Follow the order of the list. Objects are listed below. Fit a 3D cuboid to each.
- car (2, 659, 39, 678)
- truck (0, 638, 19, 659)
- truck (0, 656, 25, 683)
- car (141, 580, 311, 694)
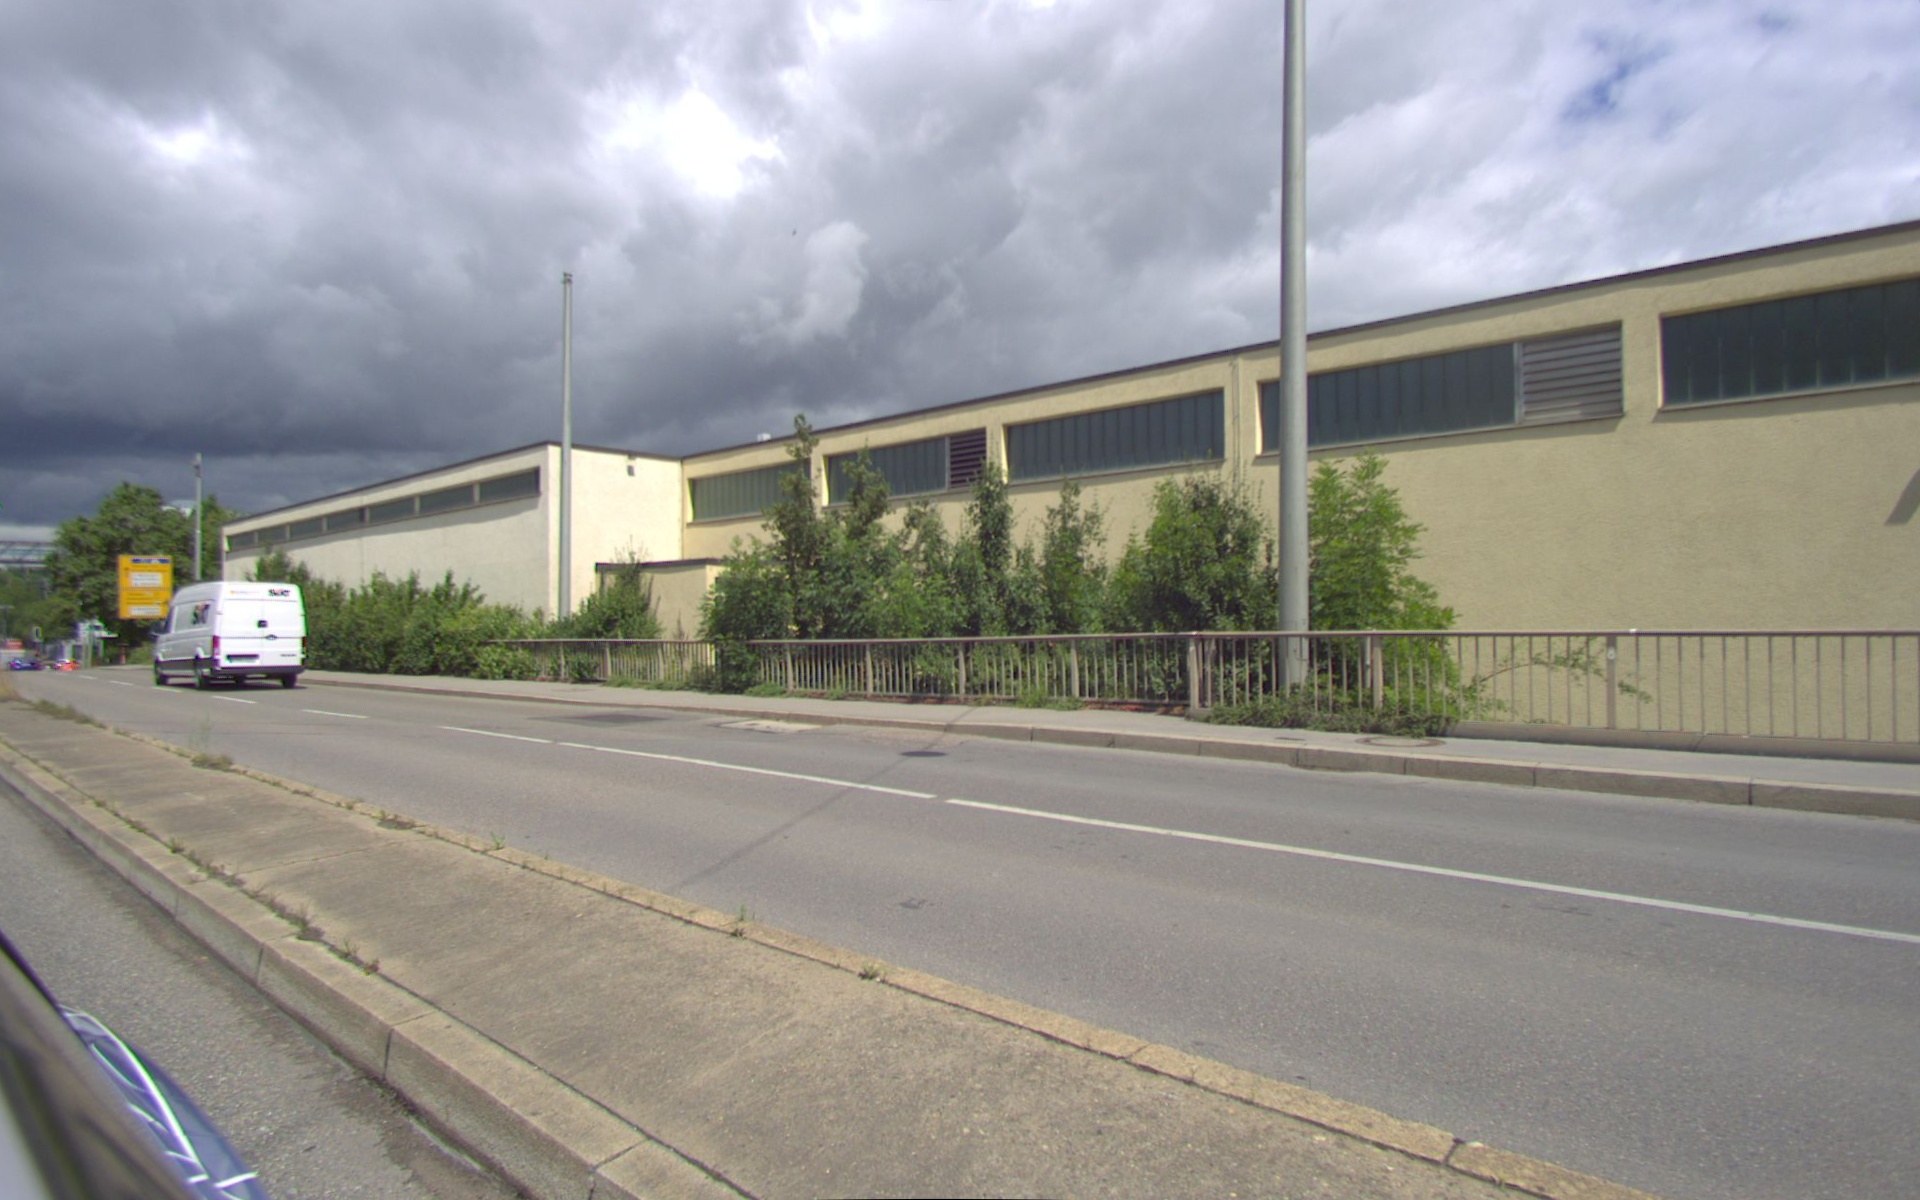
[{"bbox_3d":[-66.211,4.831,71.325,1.734,1.285,4.002,3,-5,-45],"label":"car"},{"bbox_3d":[-176.819,9.122,185.276,8.909,3.595,2.349,-4,-2,16],"label":"truck"},{"bbox_3d":[-118.216,8.716,125.551,2.820,2.879,9.389,0,-5,-41],"label":"truck"},{"bbox_3d":[-18.992,0.959,26.022,6.818,2.591,2.045,-2,-3,41],"label":"car"}]
